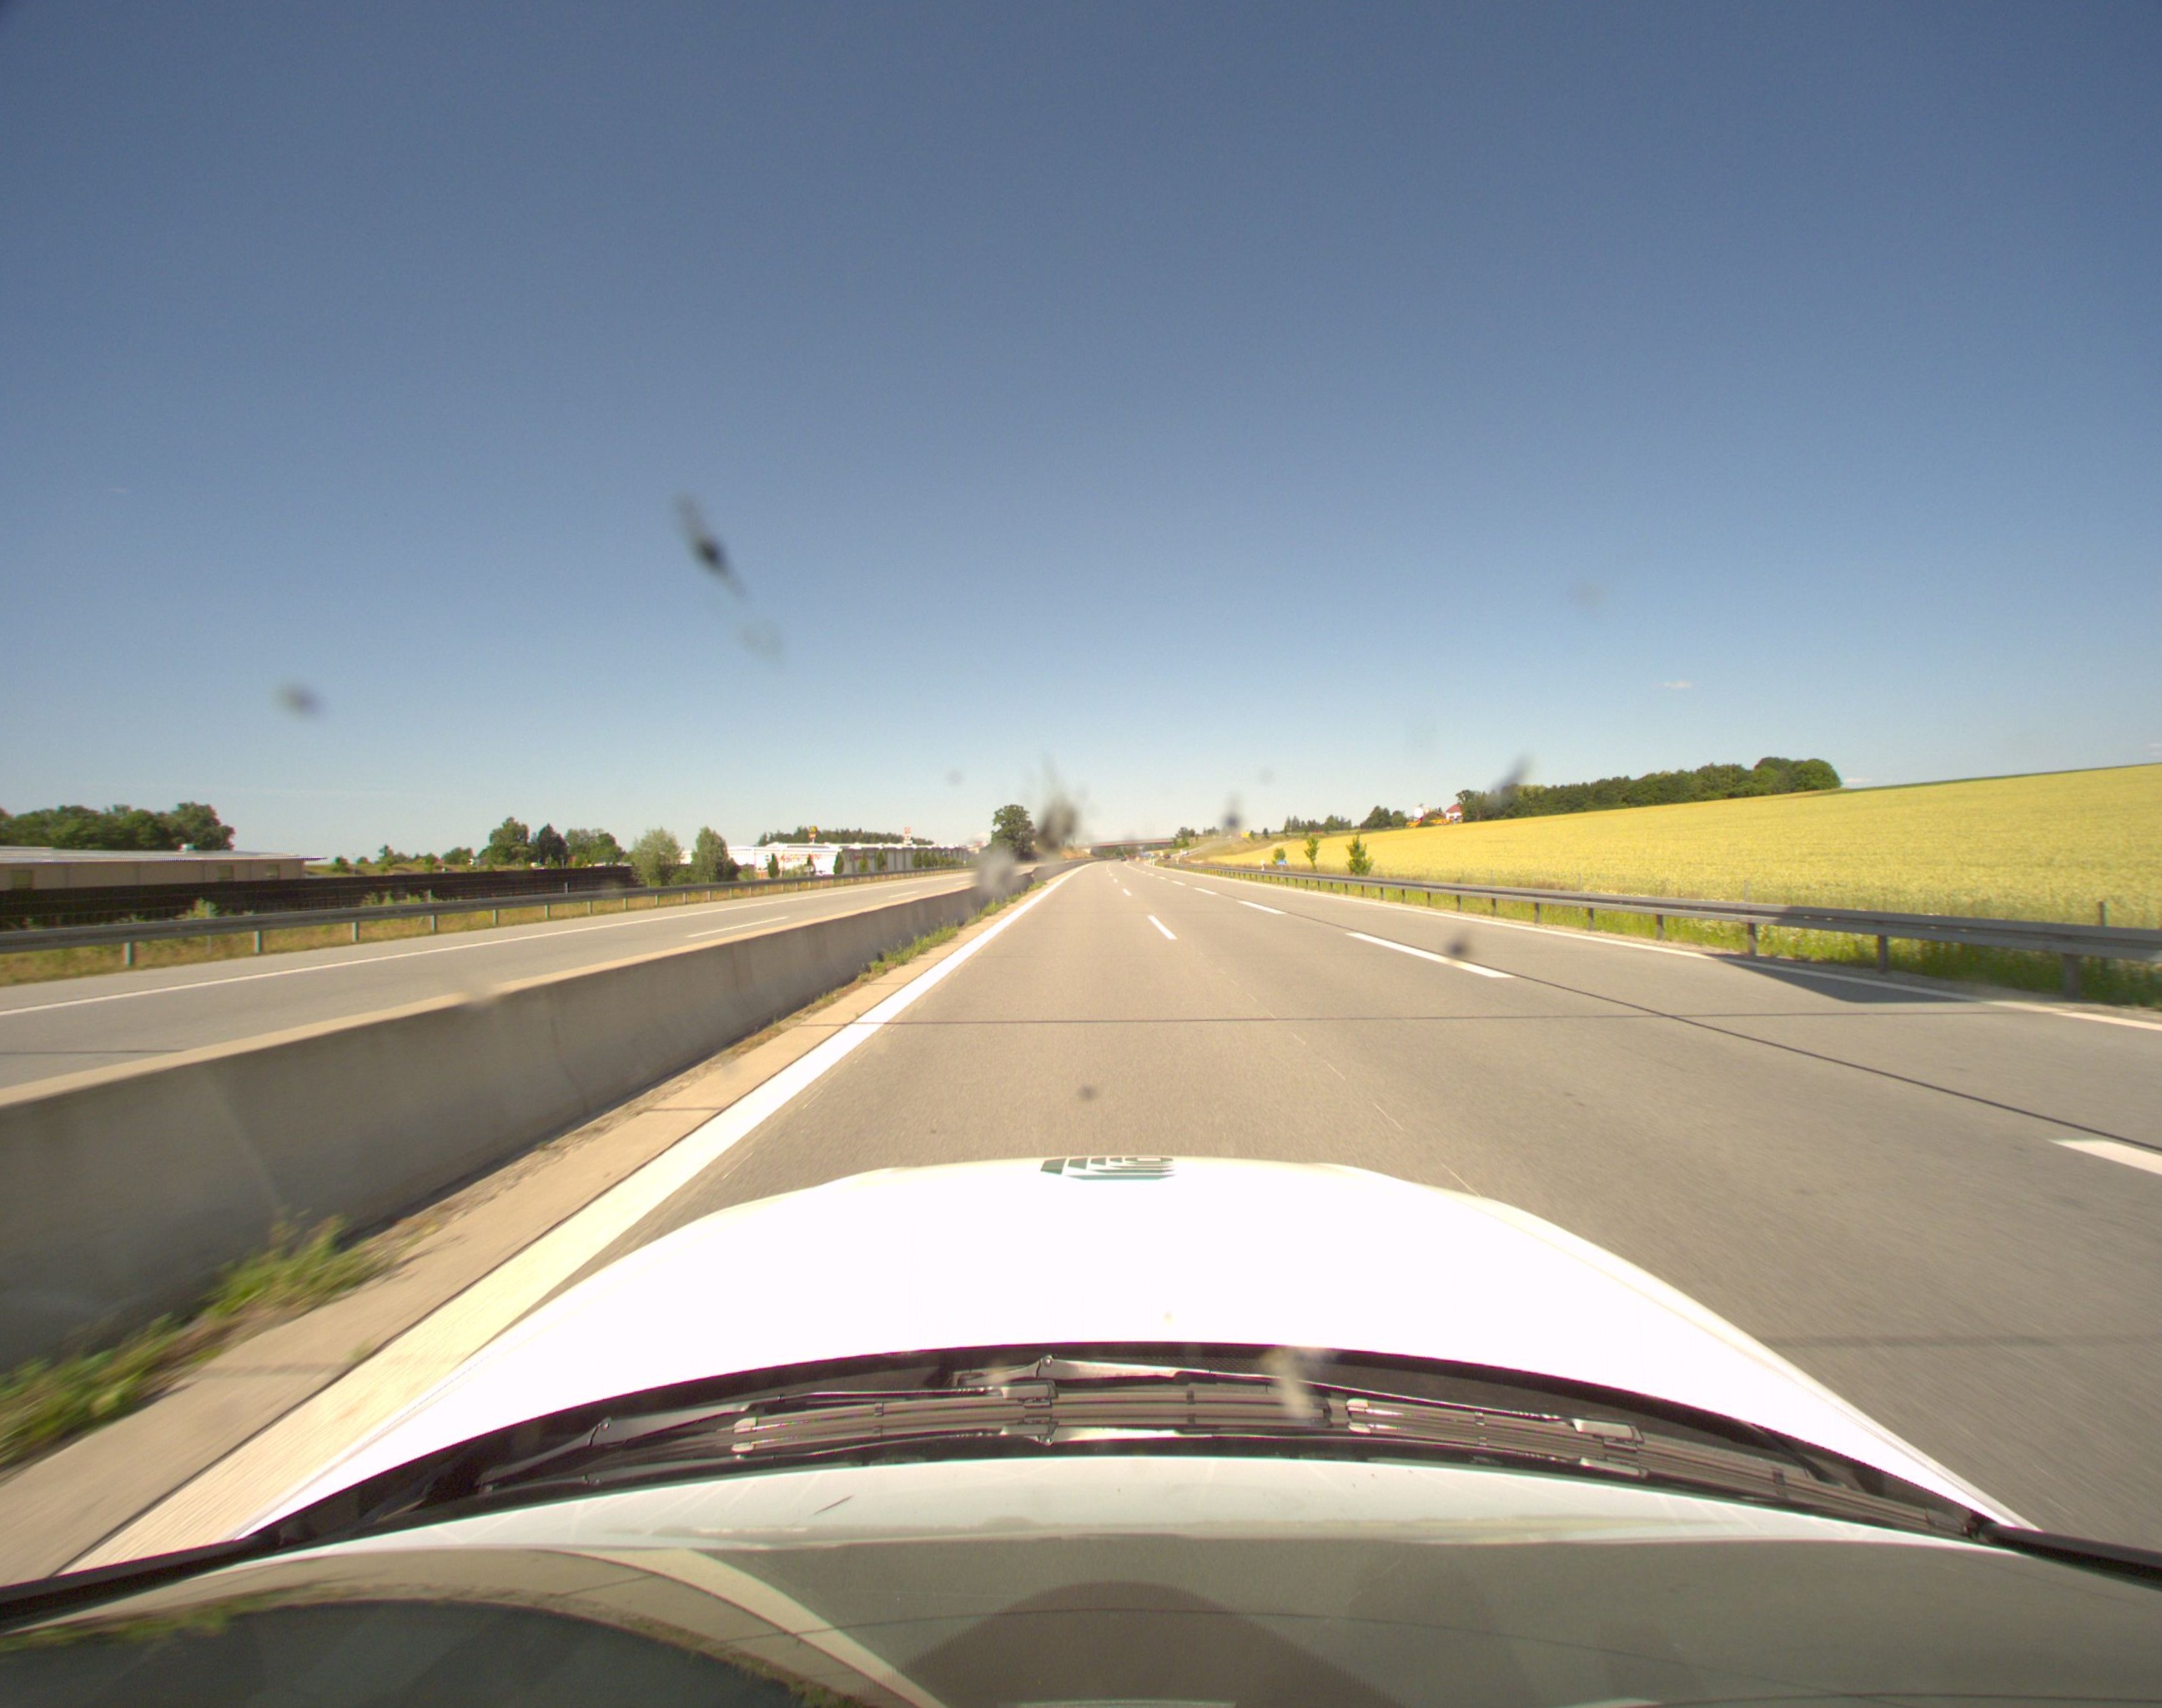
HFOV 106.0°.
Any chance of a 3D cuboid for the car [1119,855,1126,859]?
[{"bbox_3d":[13.241,0.972,257.419,1.984,1.420,4.005,-3,0,4],"label":"car"}]
